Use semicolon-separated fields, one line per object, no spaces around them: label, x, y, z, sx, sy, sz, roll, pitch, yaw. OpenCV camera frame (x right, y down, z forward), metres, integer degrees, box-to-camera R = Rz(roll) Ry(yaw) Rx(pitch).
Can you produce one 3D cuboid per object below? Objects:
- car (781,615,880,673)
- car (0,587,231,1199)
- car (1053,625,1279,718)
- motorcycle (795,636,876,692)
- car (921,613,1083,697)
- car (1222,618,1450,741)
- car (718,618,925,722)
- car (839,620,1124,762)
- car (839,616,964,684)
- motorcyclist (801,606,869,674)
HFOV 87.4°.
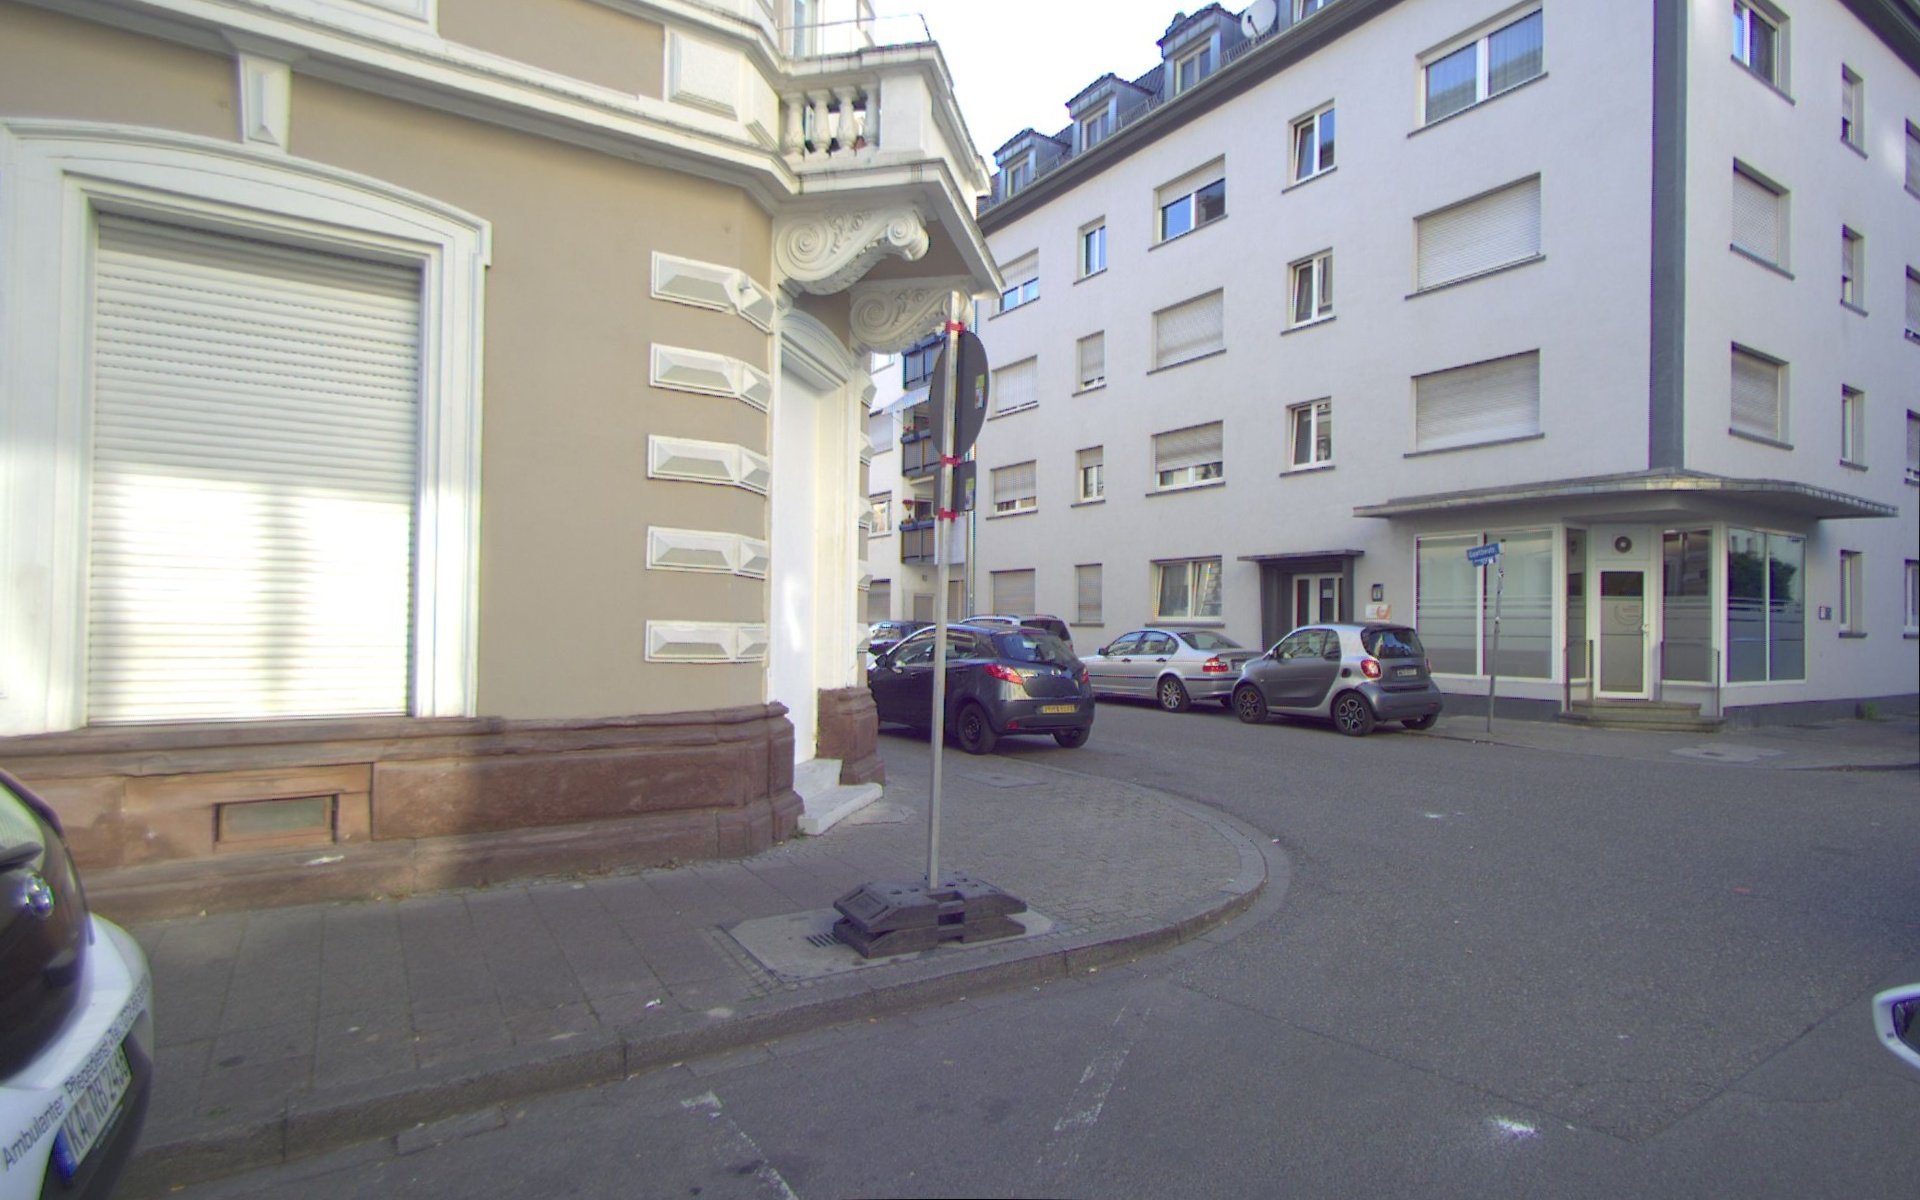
car;-3.939;1.295;30.273;1.586;1.560;3.470;1;0;-33
car;-3.426;0.767;0.967;4.218;1.527;1.911;1;-3;-31
car;3.631;1.220;18.423;1.586;1.422;4.179;2;-1;-33
motorcycle;-2.571;1.285;20.552;0.961;1.042;1.981;1;-1;-30
car;0.840;1.151;22.469;1.586;1.626;3.993;1;0;-33
car;5.495;1.097;14.916;1.576;1.560;2.771;1;0;-31
car;-2.458;1.063;16.824;1.884;1.481;4.286;1;-1;-32
car;0.137;1.007;12.573;1.713;1.470;3.639;1;-1;-36
car;-1.592;1.247;26.294;1.587;1.560;3.685;1;0;-34
motorcyclist;-2.566;0.802;20.562;0.961;1.347;1.218;1;-1;-30
